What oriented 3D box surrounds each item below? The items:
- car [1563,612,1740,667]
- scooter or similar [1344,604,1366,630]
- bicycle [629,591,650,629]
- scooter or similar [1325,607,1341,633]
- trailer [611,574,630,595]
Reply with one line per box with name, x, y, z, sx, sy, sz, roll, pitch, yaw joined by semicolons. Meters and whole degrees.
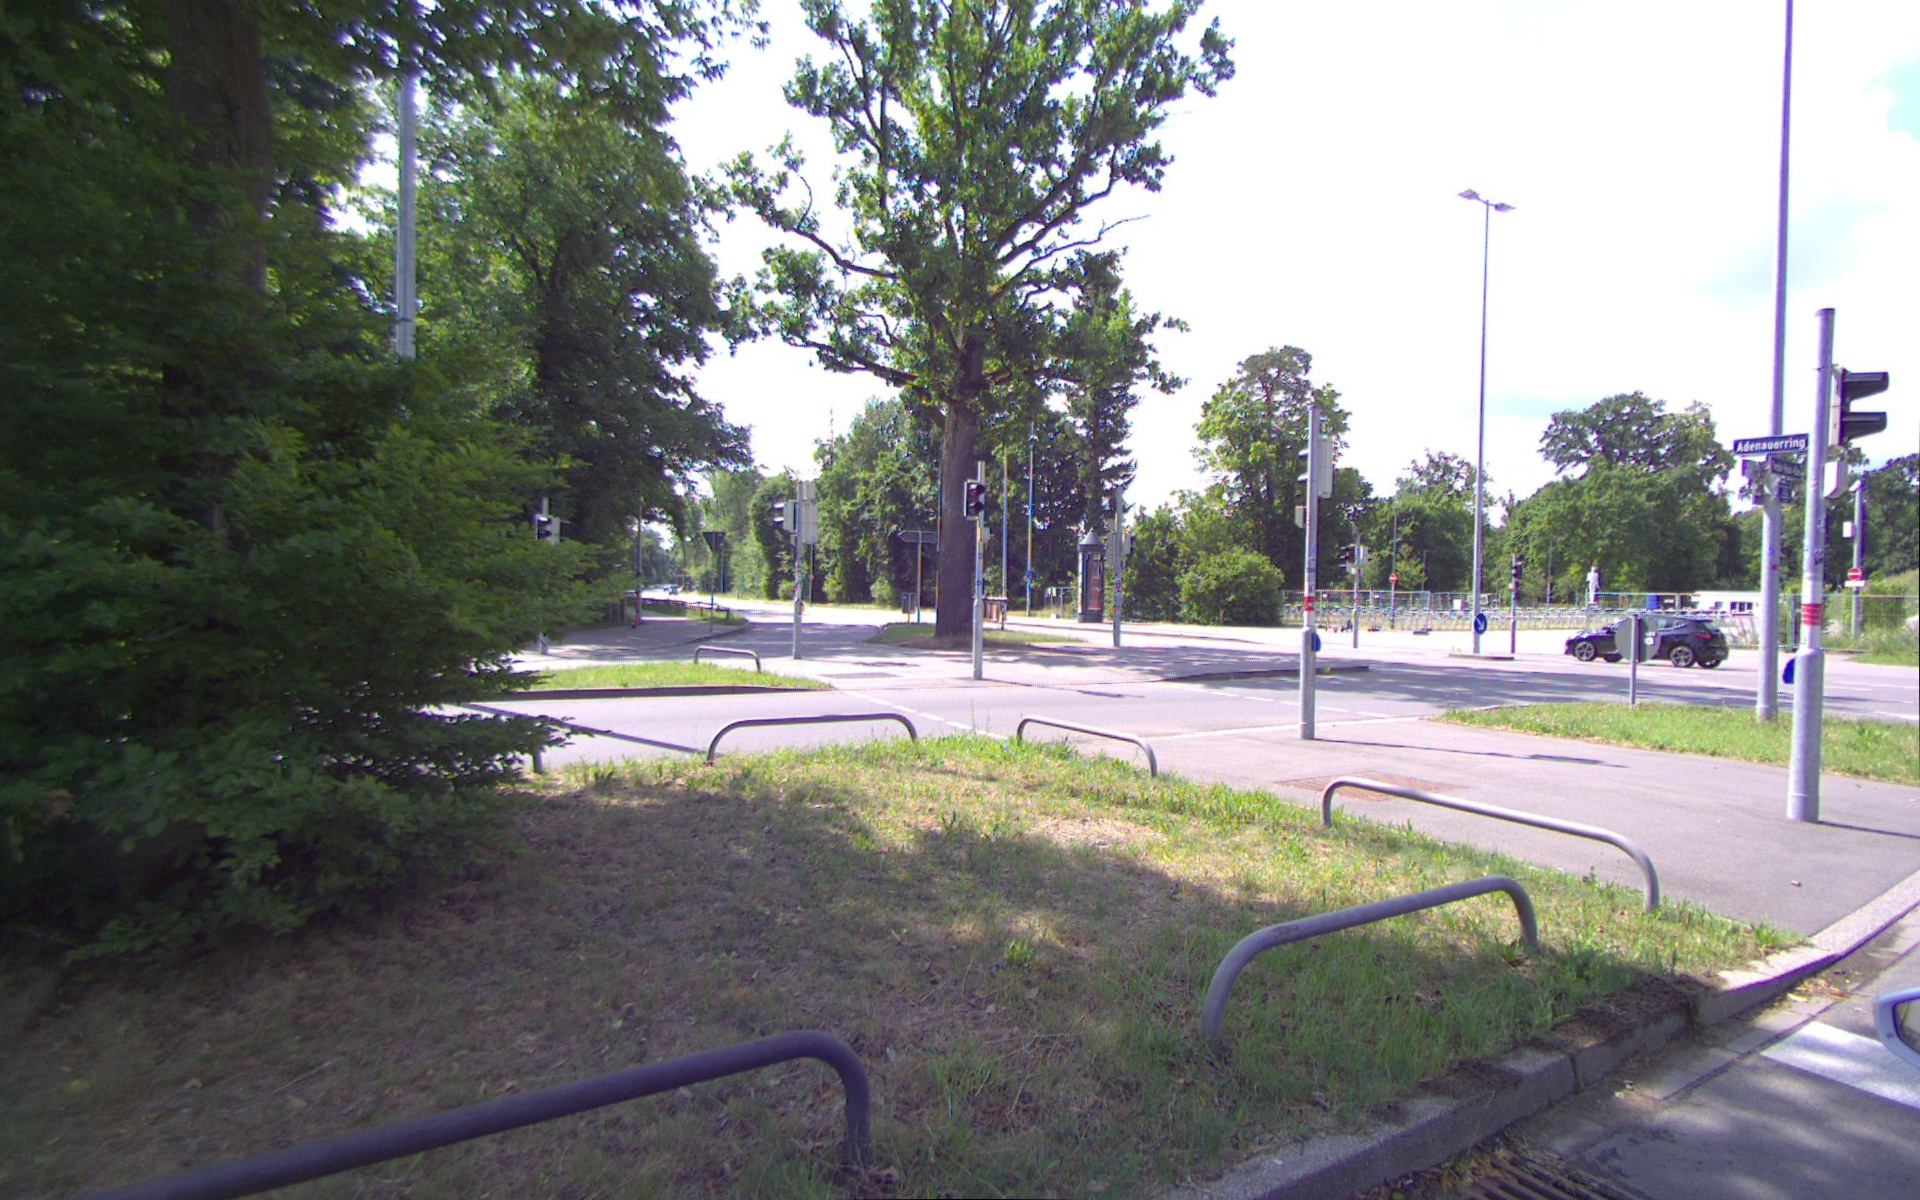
car;20.026;1.116;29.248;1.584;1.396;3.944;2;0;-29
scooter or similar;19.663;0.862;50.031;1.299;1.269;0.403;0;1;-37
bicycle;-10.447;0.329;32.743;0.413;1.189;1.228;2;0;-8
scooter or similar;18.156;0.955;48.946;0.399;1.216;1.312;0;1;6
trailer;-42.597;-1.921;125.809;1.971;2.420;3.979;2;0;-22
